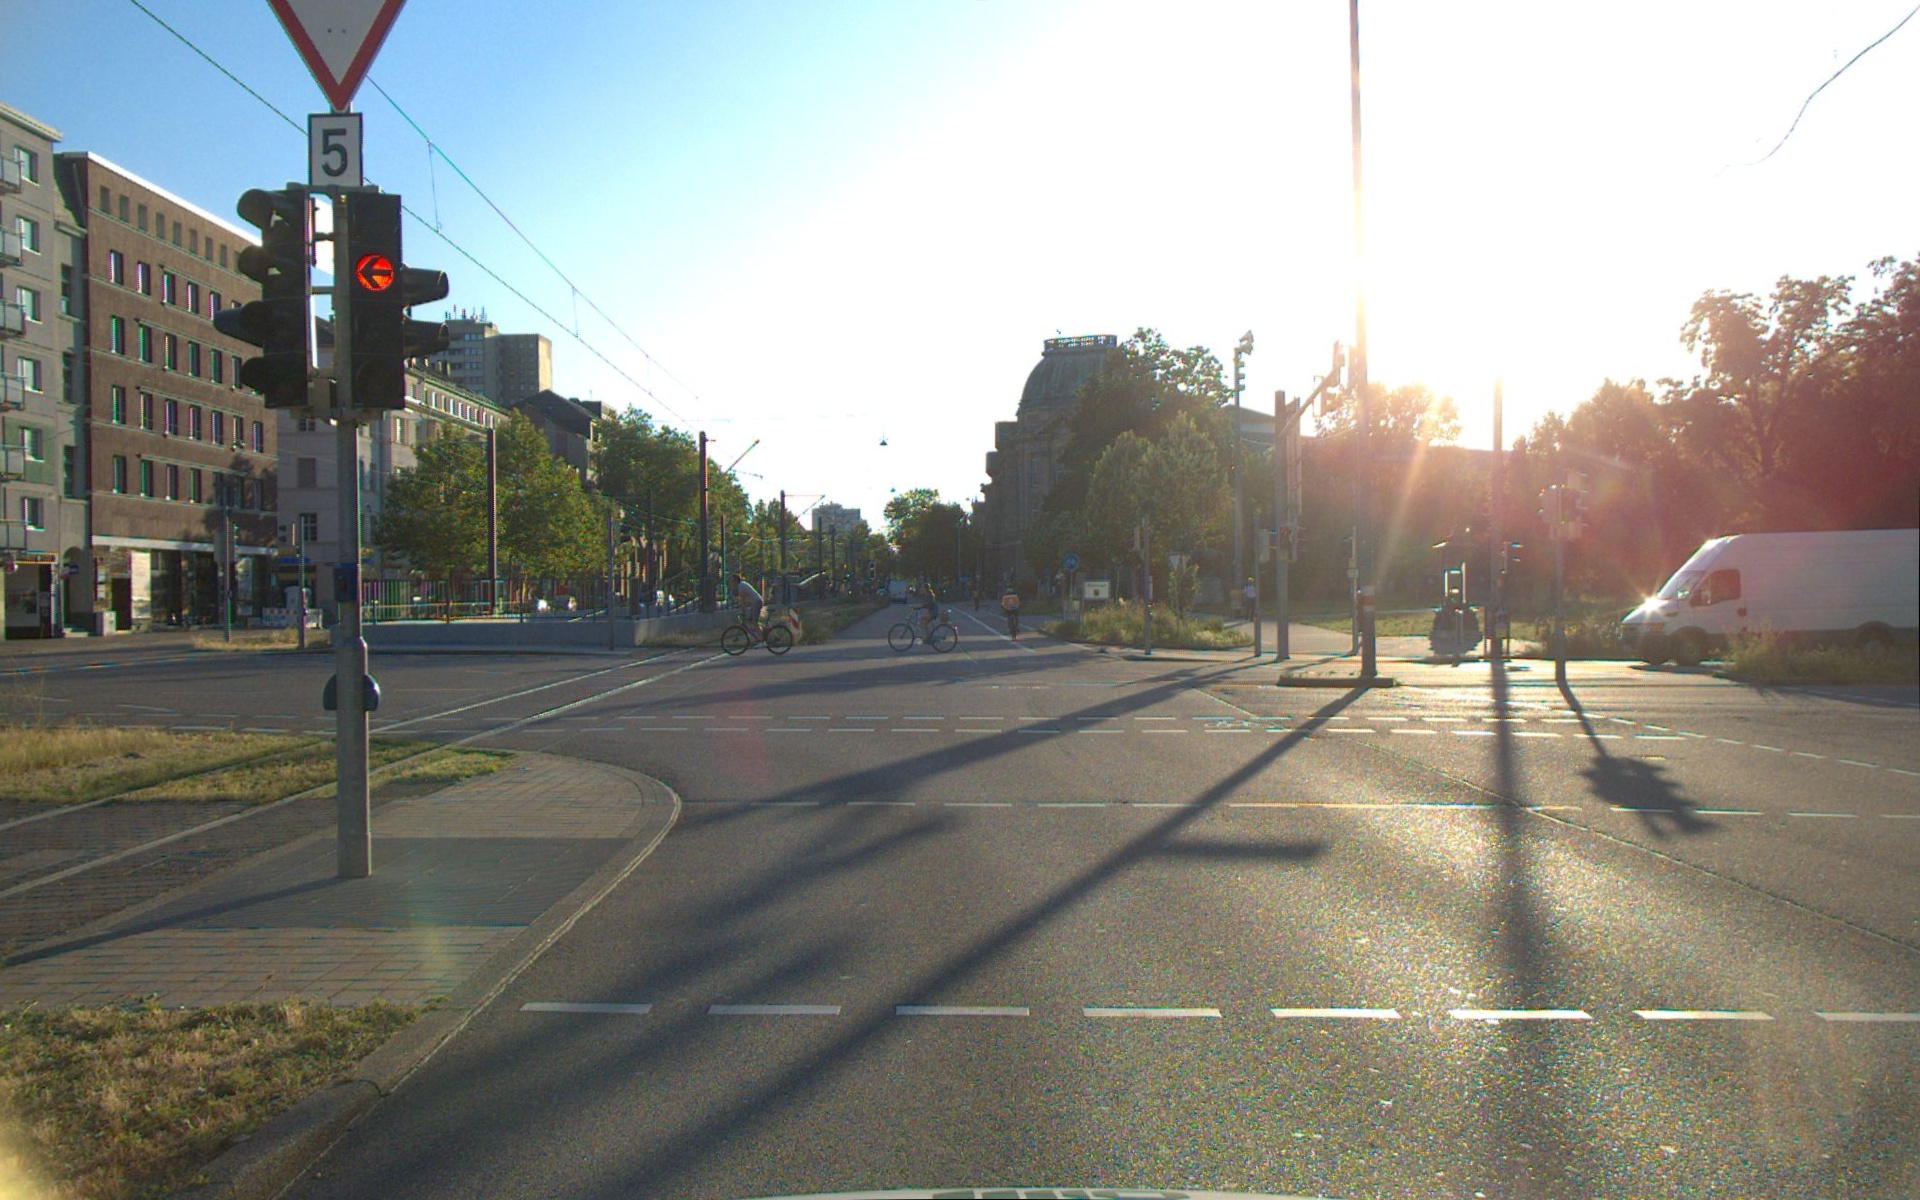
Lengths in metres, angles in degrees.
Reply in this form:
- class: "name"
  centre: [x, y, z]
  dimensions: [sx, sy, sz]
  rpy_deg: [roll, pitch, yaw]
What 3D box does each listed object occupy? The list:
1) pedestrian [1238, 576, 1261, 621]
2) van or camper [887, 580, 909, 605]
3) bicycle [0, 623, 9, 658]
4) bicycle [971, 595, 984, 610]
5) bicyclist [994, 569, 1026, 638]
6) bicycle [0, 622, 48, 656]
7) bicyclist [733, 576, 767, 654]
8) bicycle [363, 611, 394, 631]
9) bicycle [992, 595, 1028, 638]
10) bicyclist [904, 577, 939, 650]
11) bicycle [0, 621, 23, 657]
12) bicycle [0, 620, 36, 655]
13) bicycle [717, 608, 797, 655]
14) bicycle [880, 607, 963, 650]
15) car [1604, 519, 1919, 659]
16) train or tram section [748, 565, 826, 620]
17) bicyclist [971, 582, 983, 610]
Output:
- class: "pedestrian"
  centre: [11.905, -0.078, 68.017]
  dimensions: [0.815, 1.835, 0.811]
  rpy_deg: [-1, 0, 14]
- class: "van or camper"
  centre: [-7.058, -0.857, 186.585]
  dimensions: [2.400, 2.819, 5.598]
  rpy_deg: [-1, 0, -3]
- class: "bicycle"
  centre: [-32.936, 1.357, 55.475]
  dimensions: [1.655, 1.173, 0.705]
  rpy_deg: [-1, 0, 1]
- class: "bicycle"
  centre: [1.264, 0.185, 122.841]
  dimensions: [0.905, 1.131, 2.332]
  rpy_deg: [-1, 0, -1]
- class: "bicyclist"
  centre: [1.693, 0.106, 56.098]
  dimensions: [1.060, 2.316, 0.986]
  rpy_deg: [0, 0, -1]
- class: "bicycle"
  centre: [-32.862, 1.372, 57.737]
  dimensions: [1.655, 1.164, 0.697]
  rpy_deg: [-1, 0, 1]
- class: "bicyclist"
  centre: [-5.019, 0.355, 39.635]
  dimensions: [0.778, 1.850, 0.645]
  rpy_deg: [-1, 0, -7]
- class: "bicycle"
  centre: [-29.172, 1.028, 82.996]
  dimensions: [0.497, 0.961, 1.667]
  rpy_deg: [-1, 0, 23]
- class: "bicycle"
  centre: [1.695, 0.549, 56.145]
  dimensions: [1.075, 1.423, 2.831]
  rpy_deg: [-1, 0, -1]
- class: "bicyclist"
  centre: [-0.995, 0.347, 42.778]
  dimensions: [0.858, 1.850, 0.538]
  rpy_deg: [0, 0, 1]
- class: "bicycle"
  centre: [-32.915, 1.334, 56.230]
  dimensions: [1.655, 1.199, 0.748]
  rpy_deg: [-1, 0, 1]
- class: "bicycle"
  centre: [-32.878, 1.289, 57.005]
  dimensions: [1.655, 1.190, 0.748]
  rpy_deg: [-1, 0, 1]
- class: "bicycle"
  centre: [-4.864, 0.752, 39.664]
  dimensions: [1.865, 1.094, 0.631]
  rpy_deg: [-1, 0, -7]
- class: "bicycle"
  centre: [-0.998, 0.728, 42.773]
  dimensions: [2.119, 1.102, 0.539]
  rpy_deg: [0, -1, 1]
- class: "car"
  centre: [17.785, -0.236, 35.768]
  dimensions: [6.866, 2.877, 2.093]
  rpy_deg: [-1, 0, 1]
- class: "train or tram section"
  centre: [-13.782, -0.694, 133.070]
  dimensions: [4.294, 3.916, 11.418]
  rpy_deg: [-1, 2, 4]
- class: "bicyclist"
  centre: [1.259, -0.276, 122.848]
  dimensions: [0.907, 2.049, 0.850]
  rpy_deg: [0, 0, -1]
